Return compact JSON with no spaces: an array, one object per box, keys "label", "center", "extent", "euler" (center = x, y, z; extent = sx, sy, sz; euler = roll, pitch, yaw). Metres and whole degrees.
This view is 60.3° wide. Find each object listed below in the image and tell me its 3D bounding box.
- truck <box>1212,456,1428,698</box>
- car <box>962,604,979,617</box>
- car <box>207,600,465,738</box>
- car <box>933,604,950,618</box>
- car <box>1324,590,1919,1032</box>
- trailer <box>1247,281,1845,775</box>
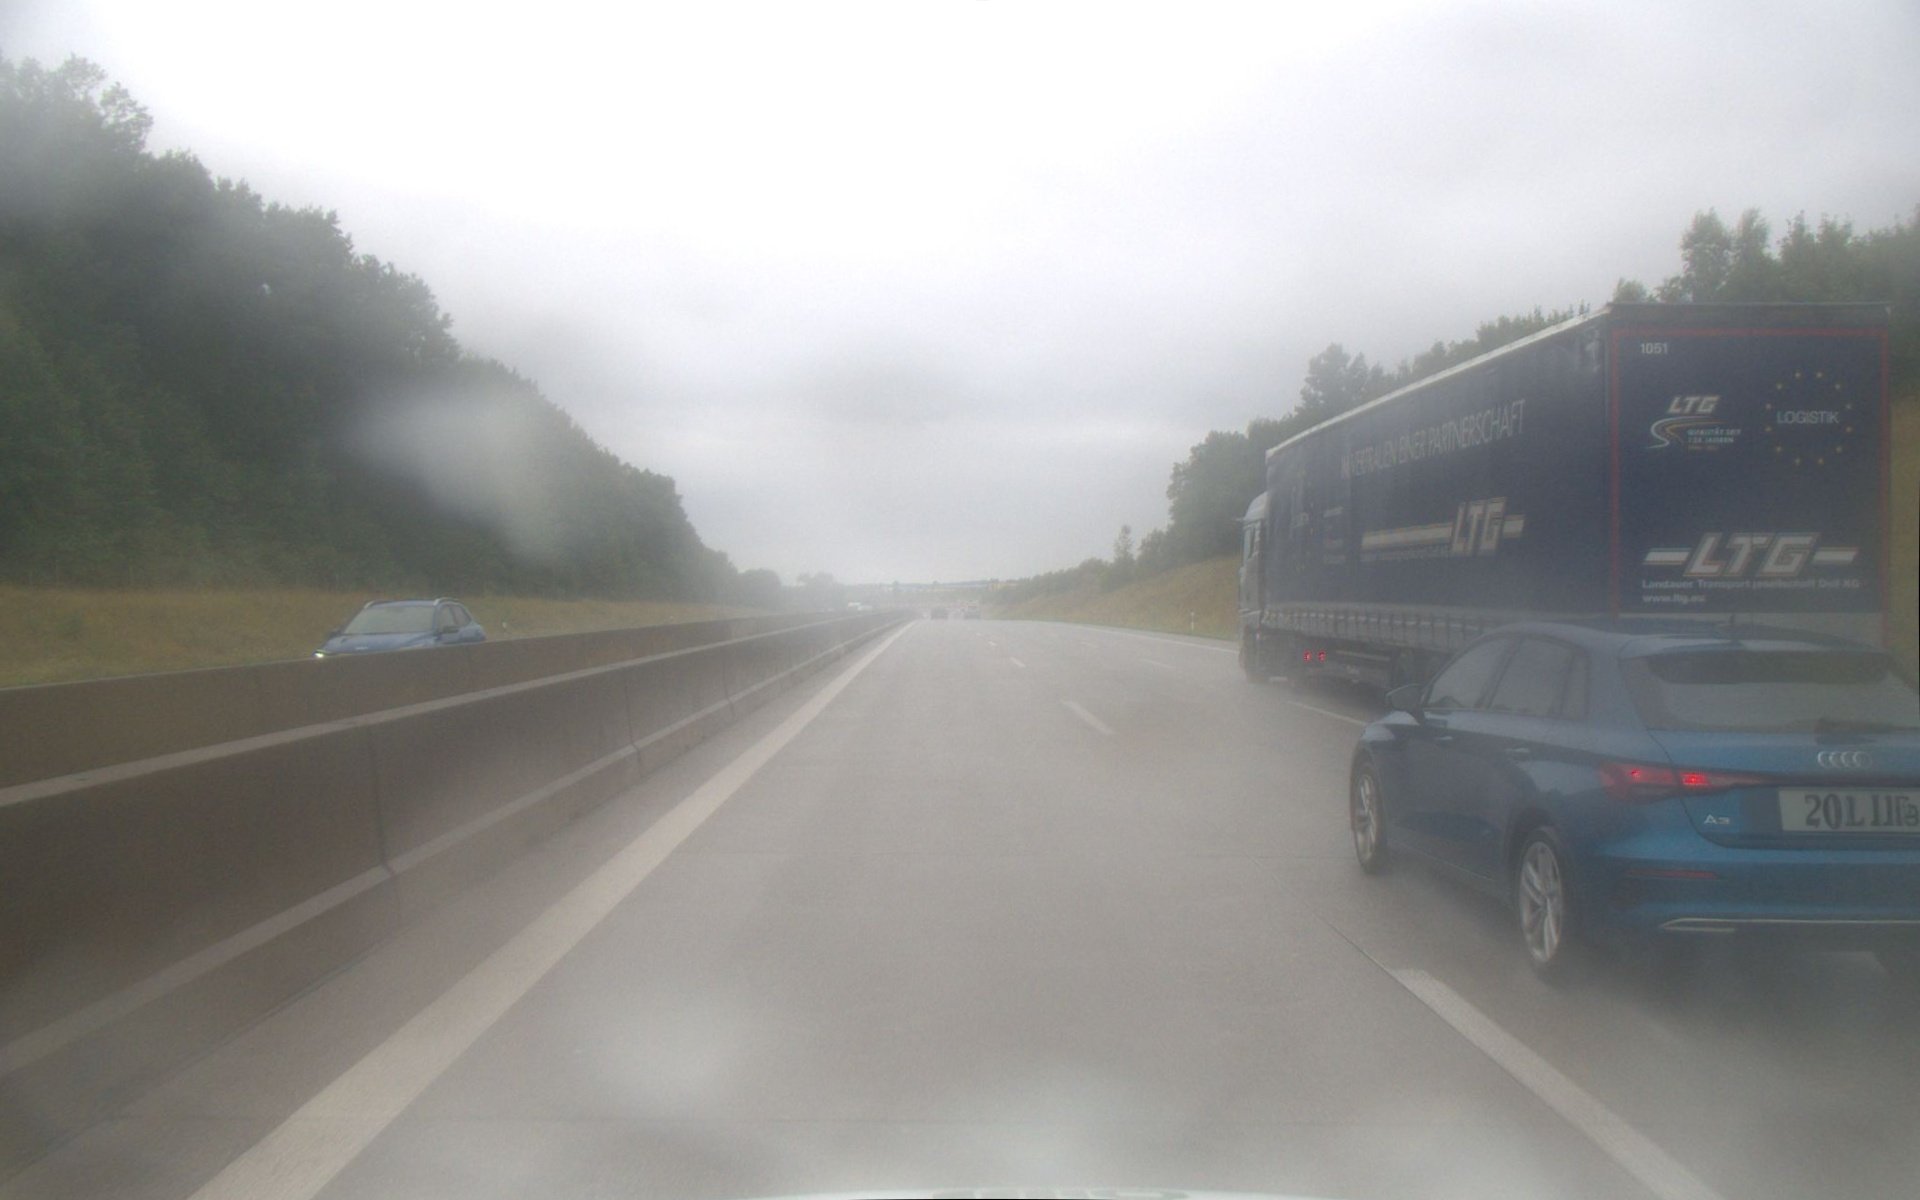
[{"label":"truck","center":[6.484,-0.387,30.622],"extent":[2.583,4.023,5.684],"euler":[1,0,-2]},{"label":"car","center":[1.104,1.147,180.316],"extent":[1.810,1.354,4.429],"euler":[0,1,-1]},{"label":"car","center":[-8.212,0.833,22.271],"extent":[1.736,1.603,4.686],"euler":[-1,0,-1]},{"label":"car","center":[-1.865,1.118,168.252],"extent":[1.694,1.354,4.429],"euler":[0,1,-1]},{"label":"car","center":[3.152,0.742,7.966],"extent":[1.694,1.484,4.671],"euler":[-1,-1,-1]},{"label":"trailer","center":[6.658,-0.650,22.667],"extent":[2.651,4.456,15.202],"euler":[1,0,0]}]
